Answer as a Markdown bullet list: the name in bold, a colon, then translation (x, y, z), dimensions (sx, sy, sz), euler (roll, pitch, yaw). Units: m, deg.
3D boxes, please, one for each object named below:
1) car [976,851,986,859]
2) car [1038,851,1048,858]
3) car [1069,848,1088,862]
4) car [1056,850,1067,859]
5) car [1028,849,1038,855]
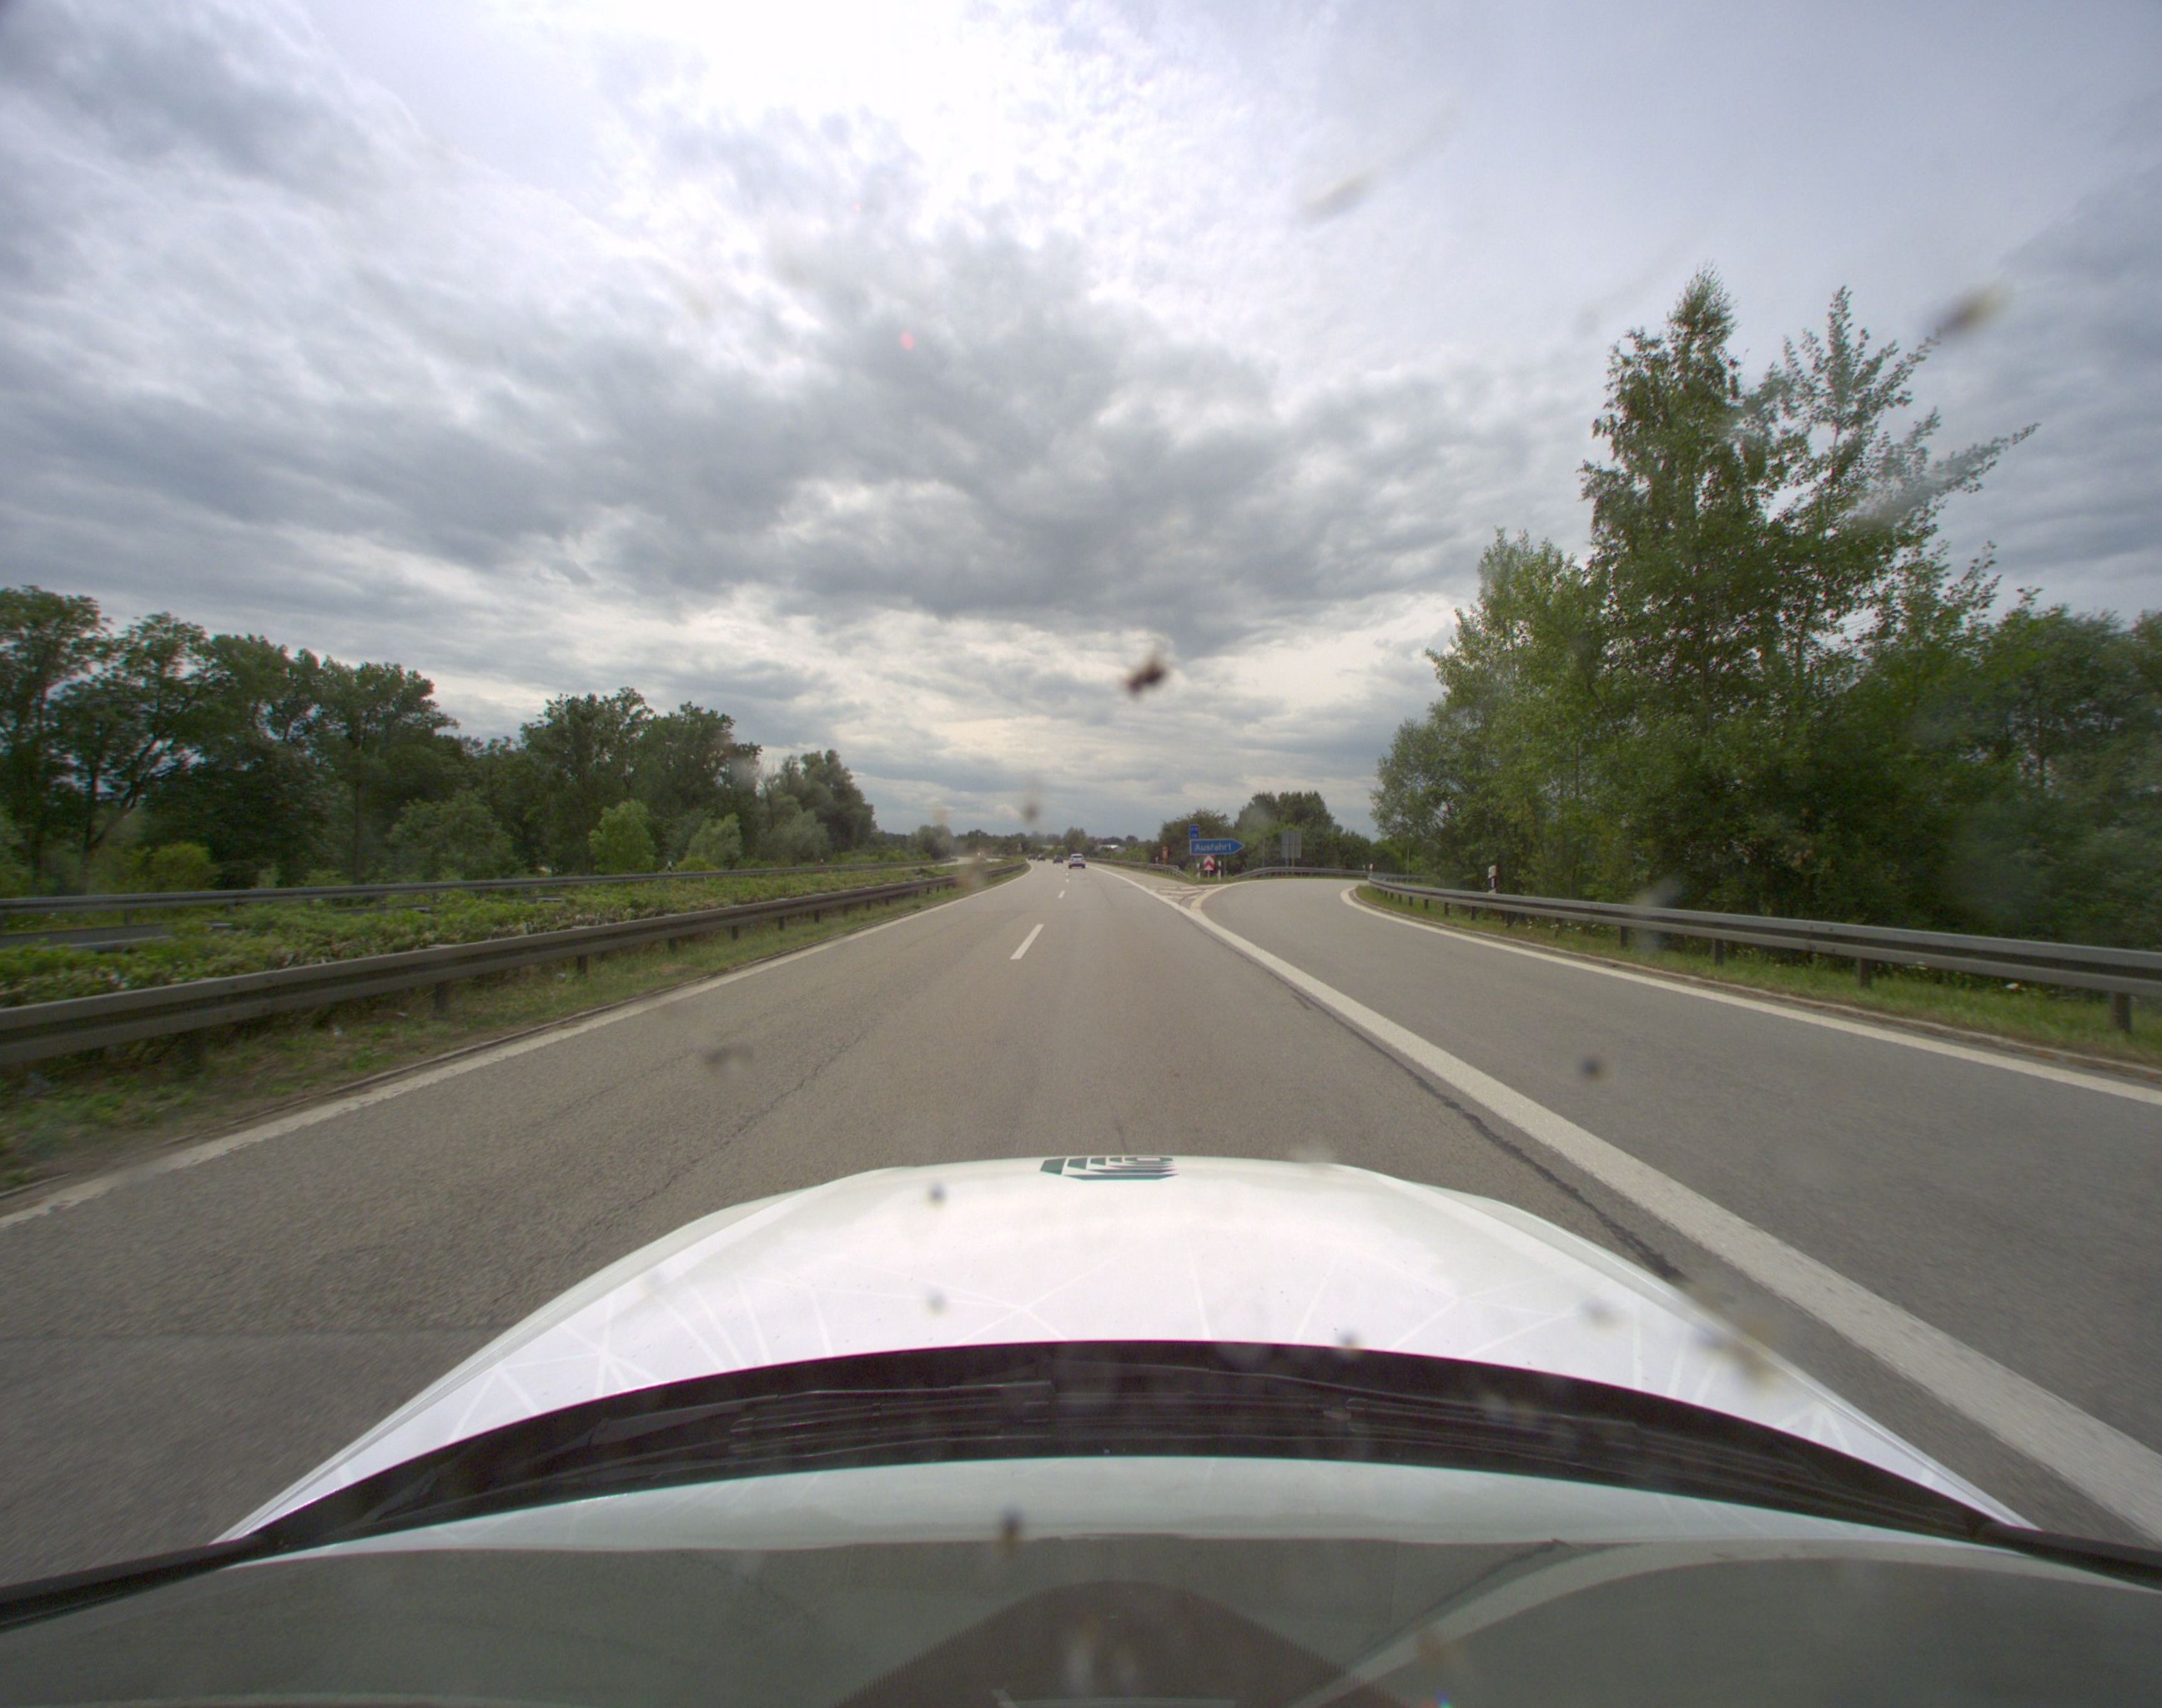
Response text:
- **car**: translation (-22.172, 0.228, 180.359), dimensions (1.696, 1.884, 5.223), euler (0, 0, -2)
- **car**: translation (-9.147, 0.208, 194.613), dimensions (1.902, 1.640, 4.764), euler (0, 0, -10)
- **car**: translation (-0.303, 0.106, 95.019), dimensions (1.899, 1.640, 4.389), euler (0, 0, -4)
- **car**: translation (-3.678, 0.030, 151.152), dimensions (1.888, 1.640, 4.617), euler (-2, 0, -3)
- **car**: translation (-13.234, -0.511, 223.260), dimensions (1.829, 1.794, 4.392), euler (0, 0, -14)
